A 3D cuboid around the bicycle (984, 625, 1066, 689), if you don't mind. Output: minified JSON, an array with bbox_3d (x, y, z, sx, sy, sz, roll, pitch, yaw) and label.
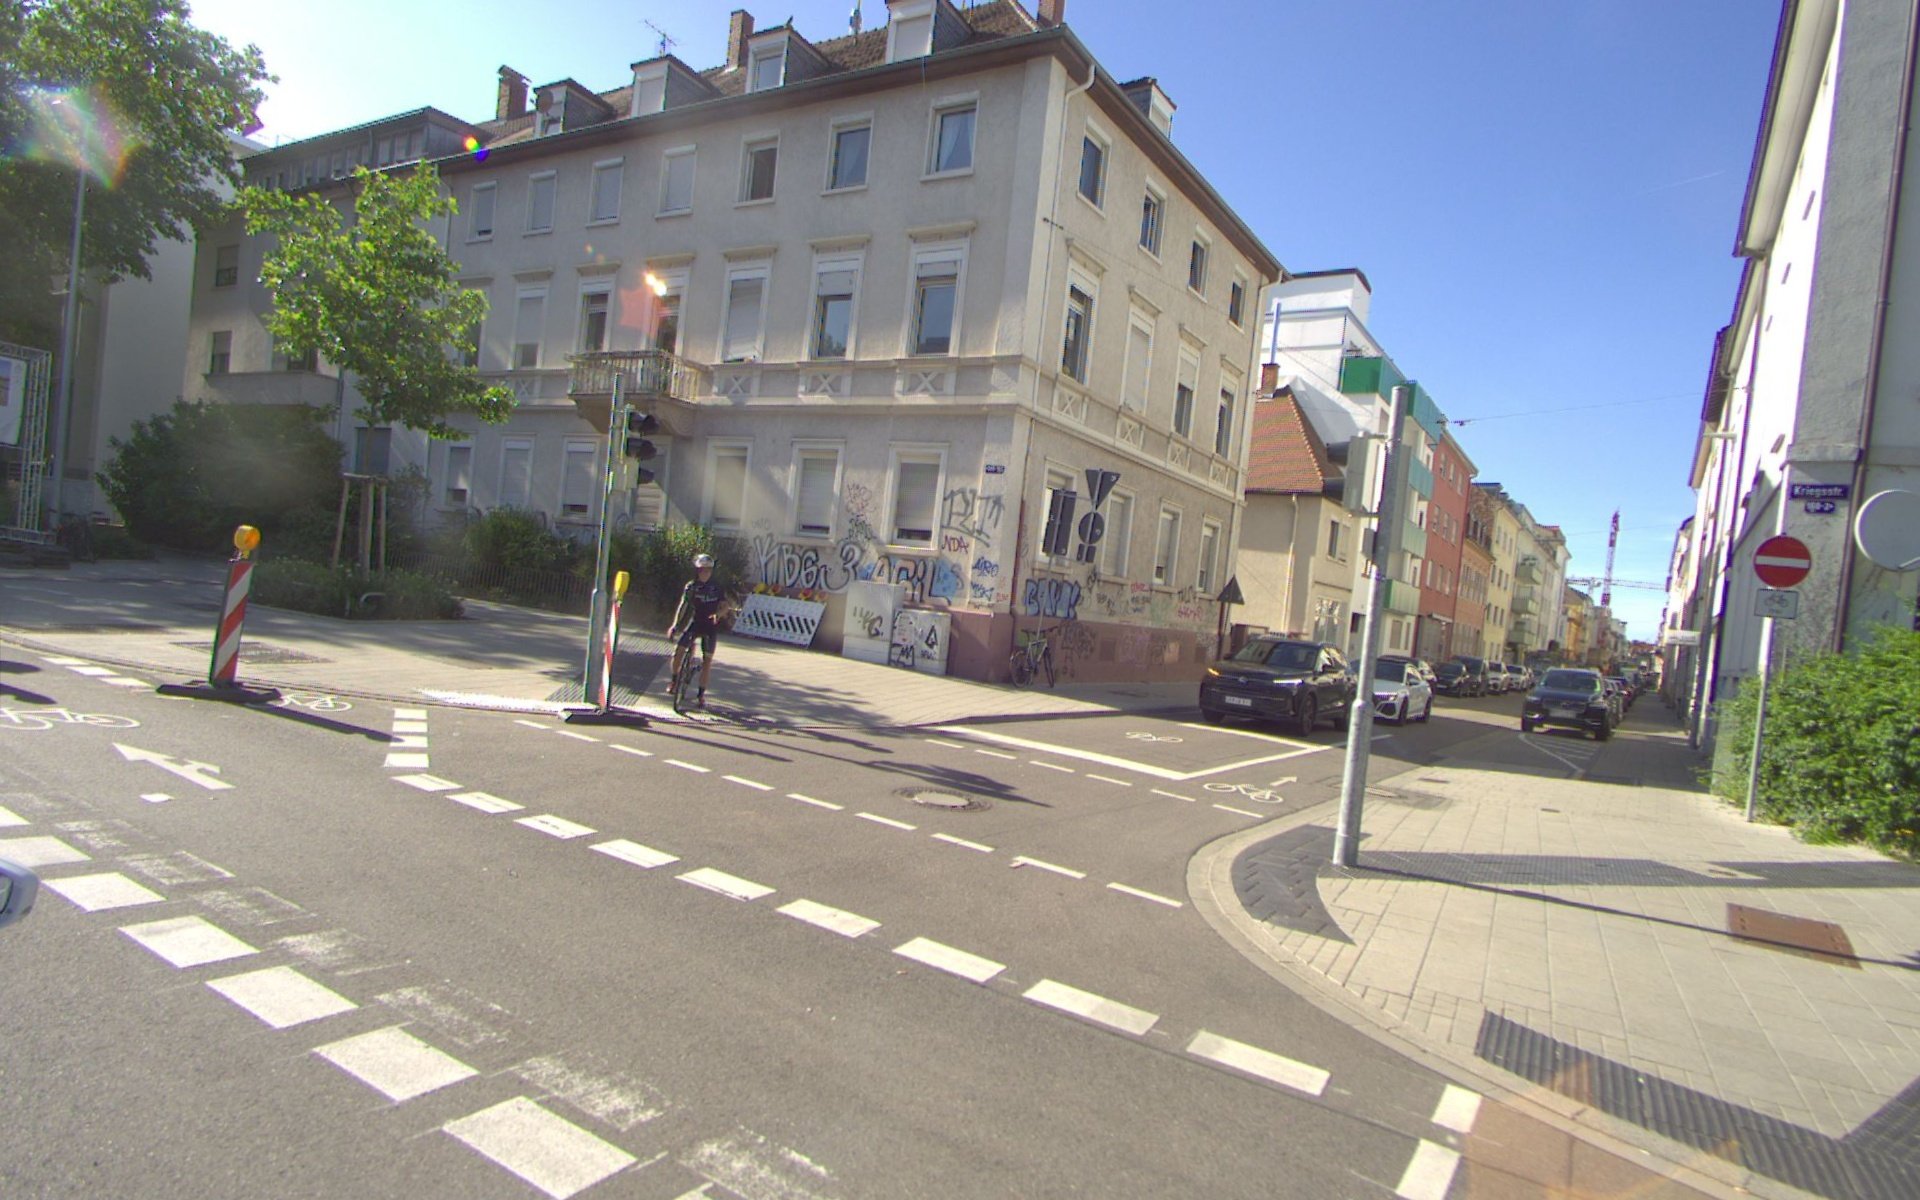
[{"bbox_3d":[1.271,1.102,19.151,0.569,1.093,1.998,7,0,32],"label":"bicycle"}]

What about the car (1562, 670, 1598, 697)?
[{"bbox_3d":[47.934,6.456,77.793,1.969,1.734,3.987,7,0,35],"label":"car"}]

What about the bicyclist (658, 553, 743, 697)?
[{"bbox_3d":[-2.962,0.269,11.434,0.716,1.518,0.867,6,1,-20],"label":"bicyclist"}]

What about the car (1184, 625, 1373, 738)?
[{"bbox_3d":[5.930,1.498,18.403,1.954,1.638,4.251,6,-1,36],"label":"car"}]

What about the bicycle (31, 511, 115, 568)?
[{"bbox_3d":[-17.765,-1.190,20.195,0.581,1.017,2.119,6,0,-24],"label":"bicycle"}]

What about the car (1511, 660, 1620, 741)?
[{"bbox_3d":[16.247,2.666,26.915,1.970,1.734,3.986,7,0,37],"label":"car"}]

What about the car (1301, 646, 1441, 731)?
[{"bbox_3d":[9.708,2.055,23.579,1.969,1.584,4.112,7,0,36],"label":"car"}]

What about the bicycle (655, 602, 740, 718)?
[{"bbox_3d":[-3.041,0.652,11.545,0.681,1.112,1.678,6,0,-21],"label":"bicycle"}]
